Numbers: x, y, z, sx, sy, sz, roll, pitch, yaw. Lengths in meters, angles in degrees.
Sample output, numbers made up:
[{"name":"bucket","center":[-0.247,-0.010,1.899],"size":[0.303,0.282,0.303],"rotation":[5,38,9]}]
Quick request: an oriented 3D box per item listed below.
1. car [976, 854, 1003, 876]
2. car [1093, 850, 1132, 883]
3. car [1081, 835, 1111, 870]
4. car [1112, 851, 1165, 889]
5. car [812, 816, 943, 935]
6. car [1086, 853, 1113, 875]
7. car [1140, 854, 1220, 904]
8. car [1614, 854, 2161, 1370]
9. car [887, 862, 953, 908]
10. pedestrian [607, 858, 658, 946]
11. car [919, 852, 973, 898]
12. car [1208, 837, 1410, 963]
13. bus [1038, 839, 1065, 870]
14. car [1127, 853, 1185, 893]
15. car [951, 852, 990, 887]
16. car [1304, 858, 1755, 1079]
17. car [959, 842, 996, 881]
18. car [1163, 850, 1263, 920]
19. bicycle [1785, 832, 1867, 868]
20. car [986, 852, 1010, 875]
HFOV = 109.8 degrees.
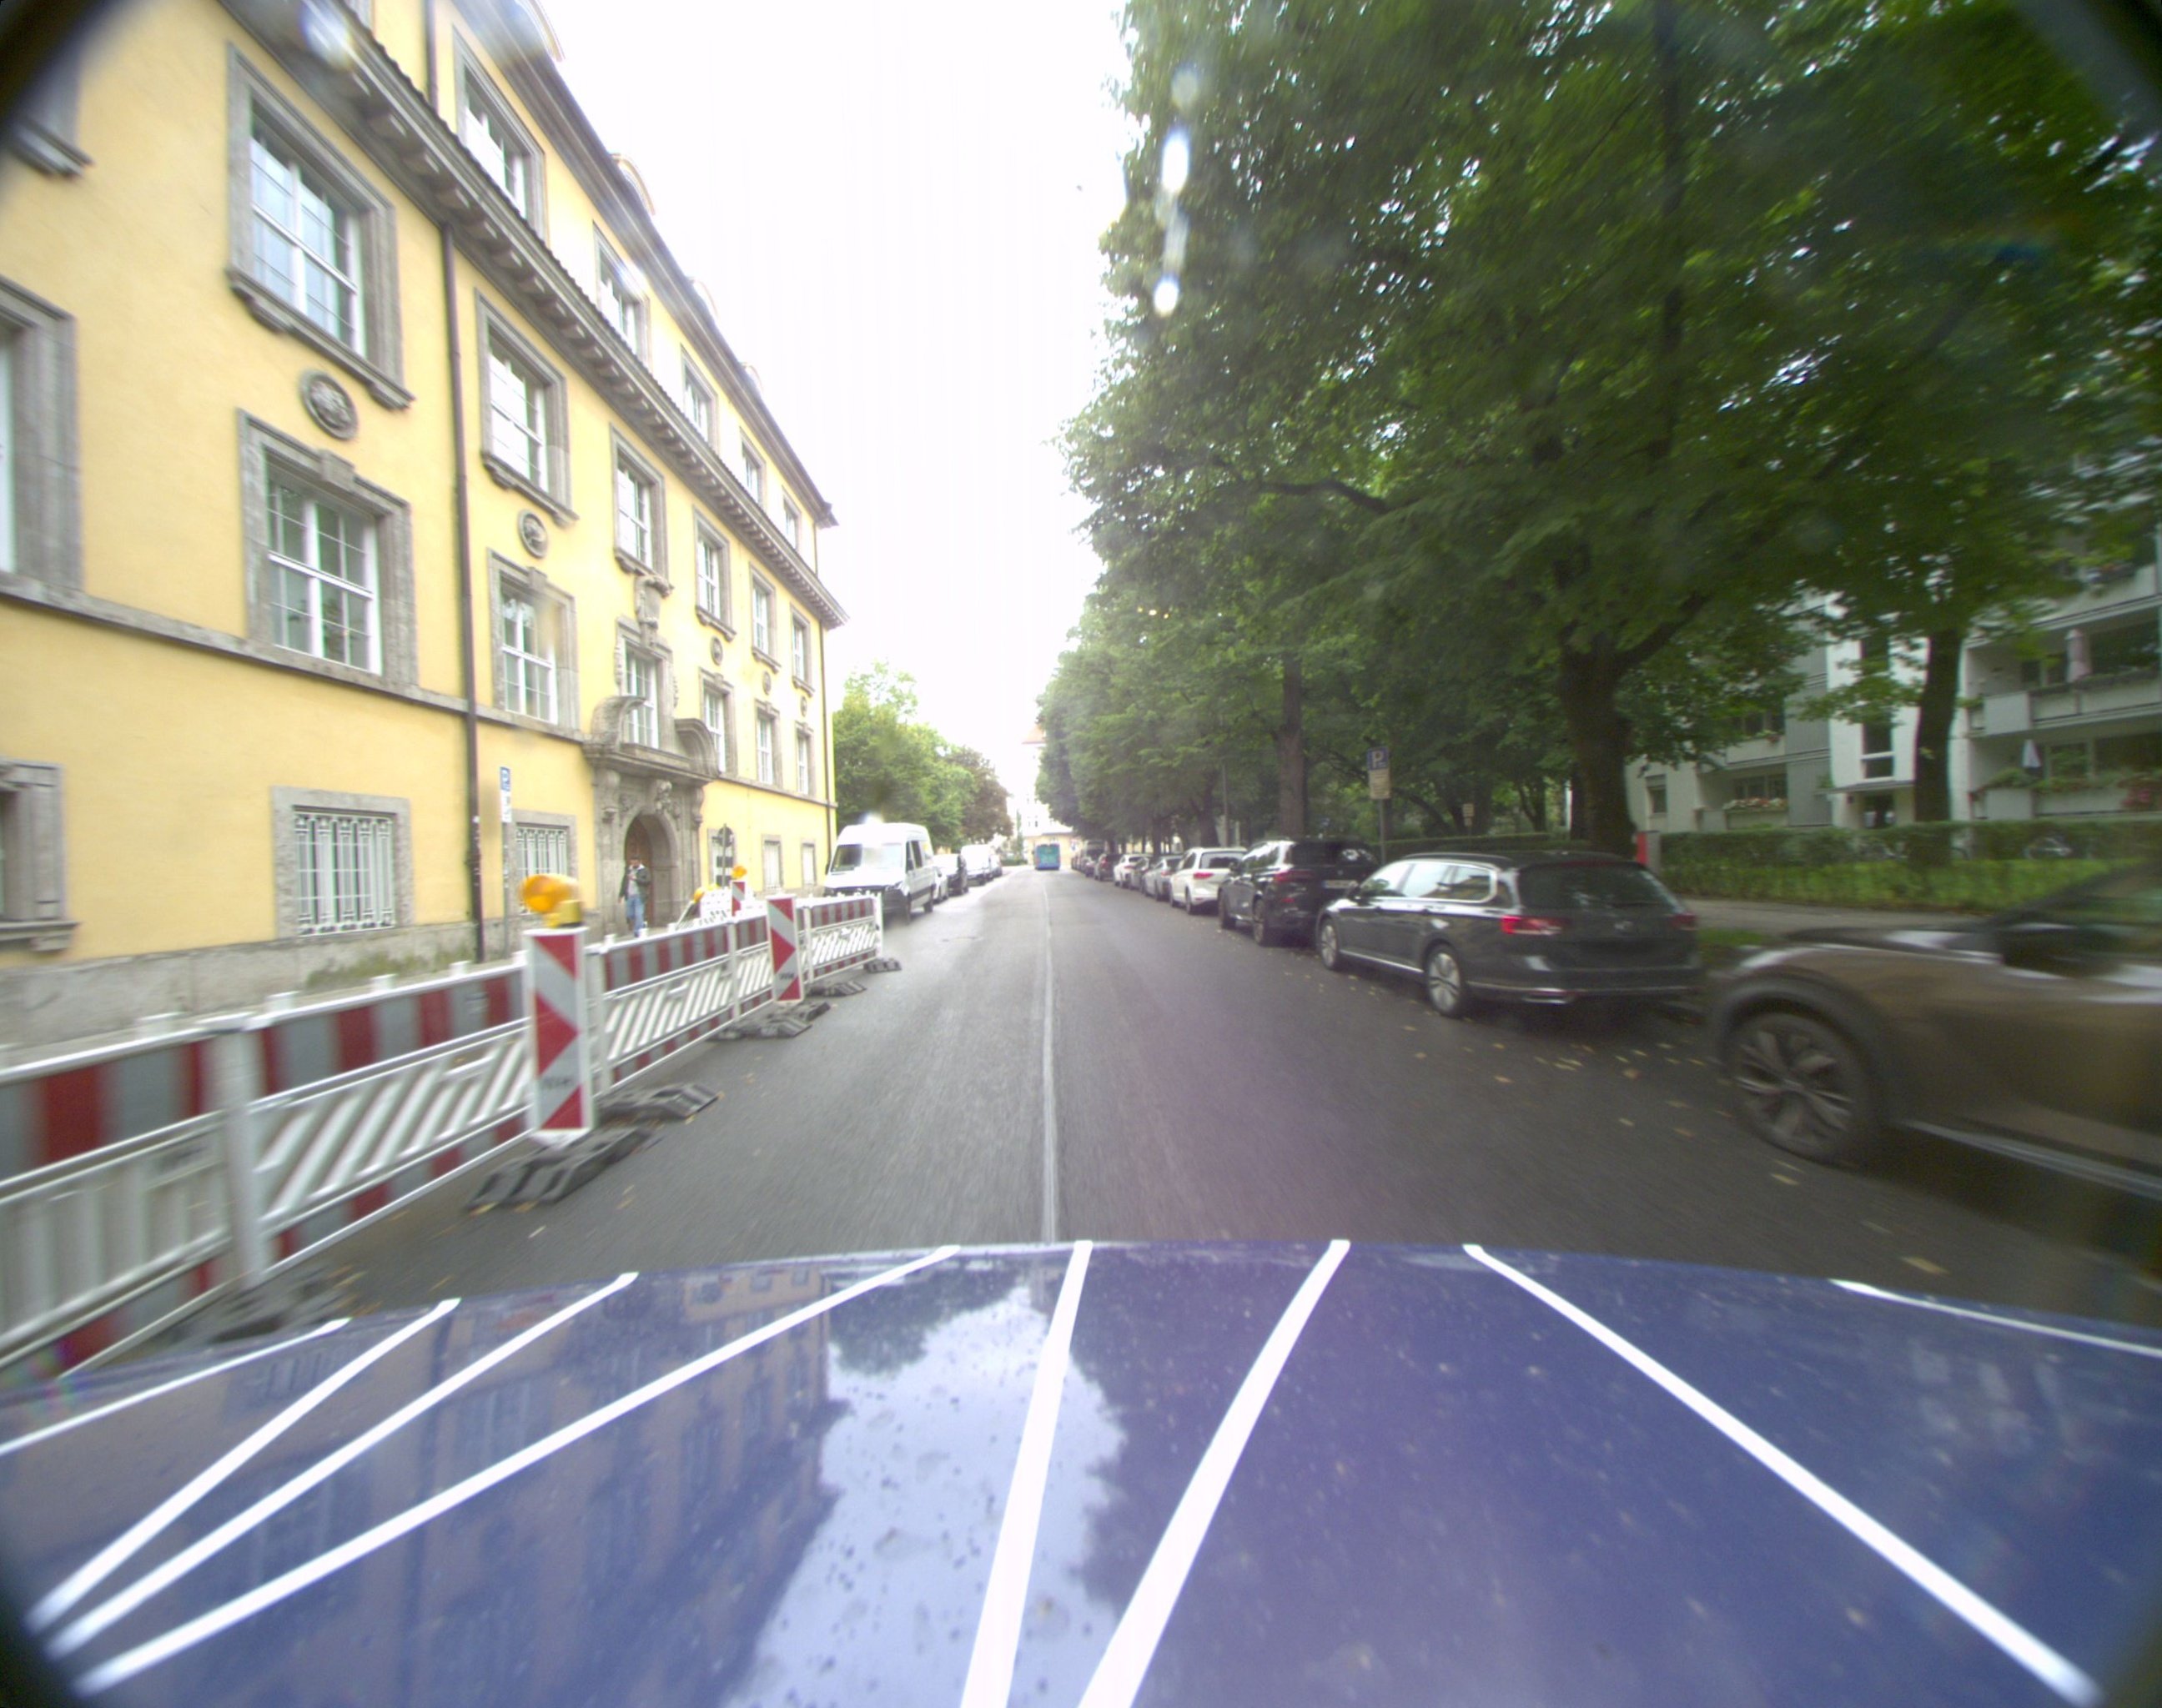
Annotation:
[{"name":"car","center":[-7.658,0.898,64.140],"size":[1.864,1.731,4.601],"rotation":[-4,1,-3]},{"name":"car","center":[1.830,0.681,45.714],"size":[1.789,1.866,4.546],"rotation":[-1,0,-4]},{"name":"car","center":[1.285,-0.169,67.367],"size":[1.950,2.838,6.232],"rotation":[-2,1,-4]},{"name":"car","center":[2.645,0.713,36.020],"size":[1.789,1.588,4.582],"rotation":[-2,1,-4]},{"name":"car","center":[-5.358,0.462,21.275],"size":[2.060,2.657,7.610],"rotation":[-2,1,-4]},{"name":"car","center":[1.305,0.718,55.055],"size":[1.794,1.429,4.551],"rotation":[-2,0,0]},{"name":"car","center":[3.273,0.769,26.045],"size":[1.814,1.461,4.995],"rotation":[-2,1,-3]},{"name":"car","center":[4.213,0.796,2.371],"size":[1.791,1.565,4.484],"rotation":[-1,0,-3]},{"name":"car","center":[-6.031,1.122,28.916],"size":[1.876,1.449,4.253],"rotation":[-2,1,-4]},{"name":"pedestrian","center":[-9.437,0.991,16.014],"size":[0.702,1.794,0.582],"rotation":[0,2,-3]},{"name":"car","center":[-6.139,0.908,35.070],"size":[1.876,1.858,4.984],"rotation":[-2,1,-4]},{"name":"car","center":[3.714,0.643,13.457],"size":[1.999,1.786,4.919],"rotation":[-1,1,-1]},{"name":"bus","center":[-3.746,-0.104,92.480],"size":[2.867,3.221,18.416],"rotation":[-2,1,-3]},{"name":"car","center":[3.007,0.721,31.298],"size":[1.677,1.461,4.102],"rotation":[-2,1,-4]},{"name":"car","center":[-6.660,0.874,46.288],"size":[2.019,1.895,5.161],"rotation":[-4,1,-6]},{"name":"car","center":[3.905,0.828,7.775],"size":[1.723,1.442,4.694],"rotation":[-2,1,-1]},{"name":"car","center":[-7.202,0.461,53.603],"size":[2.101,2.473,5.736],"rotation":[-2,1,-4]},{"name":"car","center":[3.343,0.728,20.068],"size":[1.770,1.612,4.521],"rotation":[0,1,-1]},{"name":"bicycle","center":[24.070,-0.128,24.602],"size":[0.642,1.101,1.902],"rotation":[-3,0,-7]},{"name":"car","center":[-7.614,0.832,70.240],"size":[1.864,1.956,5.442],"rotation":[-2,1,-4]}]
